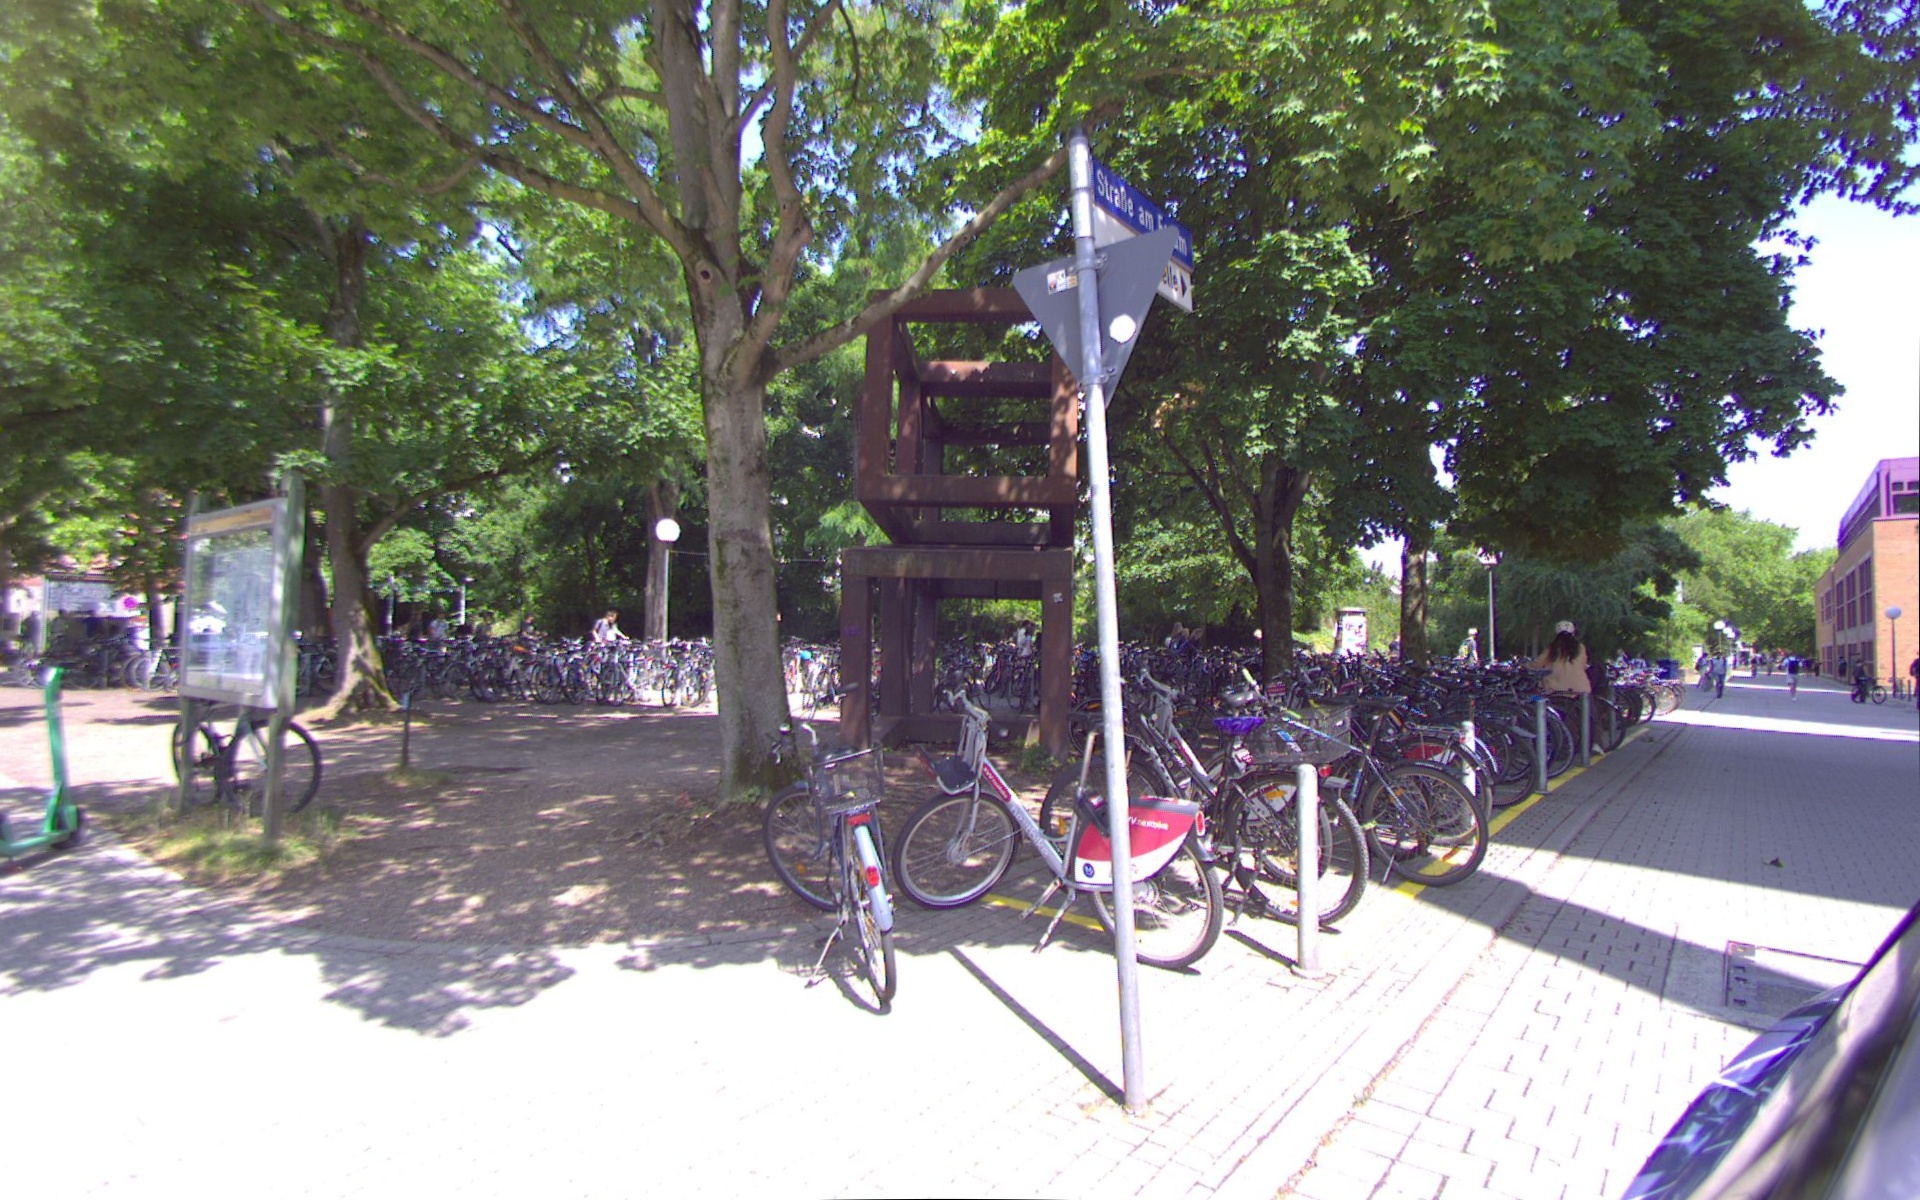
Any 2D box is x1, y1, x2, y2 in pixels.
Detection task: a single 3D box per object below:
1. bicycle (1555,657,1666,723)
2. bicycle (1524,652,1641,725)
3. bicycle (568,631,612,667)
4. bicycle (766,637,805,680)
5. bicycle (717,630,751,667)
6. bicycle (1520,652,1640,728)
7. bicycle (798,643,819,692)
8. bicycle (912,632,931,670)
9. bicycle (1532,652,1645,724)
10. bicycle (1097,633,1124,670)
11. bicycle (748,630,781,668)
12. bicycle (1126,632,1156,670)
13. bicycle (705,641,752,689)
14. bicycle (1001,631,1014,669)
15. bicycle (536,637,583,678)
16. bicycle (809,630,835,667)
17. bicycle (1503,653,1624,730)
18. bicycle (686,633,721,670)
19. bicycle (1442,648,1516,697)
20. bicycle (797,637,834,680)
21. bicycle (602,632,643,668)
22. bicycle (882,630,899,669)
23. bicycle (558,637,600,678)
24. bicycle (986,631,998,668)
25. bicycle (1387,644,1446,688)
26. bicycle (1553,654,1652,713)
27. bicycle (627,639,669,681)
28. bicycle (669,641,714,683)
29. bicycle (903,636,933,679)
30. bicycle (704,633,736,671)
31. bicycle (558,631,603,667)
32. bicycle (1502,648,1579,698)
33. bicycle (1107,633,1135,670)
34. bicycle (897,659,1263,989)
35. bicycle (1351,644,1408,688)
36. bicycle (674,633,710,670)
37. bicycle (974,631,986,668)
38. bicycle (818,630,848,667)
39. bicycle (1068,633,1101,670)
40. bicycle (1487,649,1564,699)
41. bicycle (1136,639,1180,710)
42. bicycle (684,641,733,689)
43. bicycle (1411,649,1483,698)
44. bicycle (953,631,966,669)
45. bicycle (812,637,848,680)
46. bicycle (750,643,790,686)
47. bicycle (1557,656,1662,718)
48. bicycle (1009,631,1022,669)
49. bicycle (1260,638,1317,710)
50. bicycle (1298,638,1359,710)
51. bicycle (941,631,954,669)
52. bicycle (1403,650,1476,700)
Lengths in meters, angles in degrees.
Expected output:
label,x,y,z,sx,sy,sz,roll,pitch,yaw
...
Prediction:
label,x,y,z,sx,sy,sz,roll,pitch,yaw
bicycle,11.878,1.634,18.516,1.677,1.098,0.472,1,-4,35
bicycle,10.671,1.504,17.373,1.677,1.144,0.472,1,-4,35
bicycle,-11.813,1.545,32.377,0.471,1.107,1.746,0,-2,12
bicycle,-4.268,1.416,24.845,0.372,0.991,1.898,0,-1,8
bicycle,-7.011,1.492,31.432,0.471,1.107,1.606,0,-2,9
bicycle,10.336,1.490,16.901,1.677,1.144,0.472,1,-4,35
bicycle,-3.366,1.477,22.398,0.371,0.991,1.907,0,-1,-11
bicycle,-1.161,1.520,30.704,0.469,1.107,1.610,0,-2,1
bicycle,11.061,1.535,17.840,1.677,1.144,0.472,1,-4,35
bicycle,4.624,1.571,31.172,0.341,1.107,1.613,0,-2,-10
bicycle,-6.015,1.491,31.161,0.471,1.107,1.606,0,-2,9
bicycle,5.574,1.563,31.236,0.341,1.107,1.613,0,-2,-10
bicycle,-5.181,1.440,22.739,0.372,0.991,1.898,0,-1,8
bicycle,1.444,1.508,30.971,0.330,1.107,1.610,0,-2,1
bicycle,-10.230,1.460,25.919,0.469,0.991,1.903,0,-1,0
bicycle,-4.244,1.474,31.157,0.342,1.107,1.606,0,-2,9
bicycle,9.882,1.478,16.587,1.677,1.144,0.448,1,-4,35
bicycle,-8.009,1.585,31.648,0.471,1.107,1.606,0,-2,9
bicycle,12.414,1.728,24.248,0.468,1.098,1.691,4,-4,-19
bicycle,-3.537,1.408,24.911,0.372,0.991,1.898,0,-1,8
bicycle,-10.773,1.597,32.366,0.343,1.107,1.600,-1,-2,19
bicycle,-2.080,1.468,30.401,0.342,1.107,1.609,0,-2,3
bicycle,-9.785,1.464,26.027,0.371,0.991,1.903,0,-1,0
bicycle,0.980,1.509,31.133,0.341,1.107,1.610,0,-2,1
bicycle,11.866,1.709,26.337,0.469,1.098,1.690,4,-4,-12
bicycle,13.014,1.683,20.539,1.677,1.098,0.472,1,-4,35
bicycle,-7.902,1.513,25.680,0.469,0.991,1.903,0,-1,0
bicycle,-6.702,1.528,25.345,0.372,0.991,1.898,0,-1,8
bicycle,-1.014,1.395,24.771,0.372,0.991,1.898,0,-1,8
bicycle,-7.398,1.585,31.242,0.342,1.107,1.606,0,-2,9
bicycle,-12.149,1.547,32.453,0.471,1.107,1.746,0,-2,12
bicycle,13.786,1.720,24.081,0.468,1.098,1.691,4,-4,-19
bicycle,4.959,1.567,31.231,0.341,1.107,1.613,0,-2,-10
bicycle,0.473,0.853,4.364,1.480,1.156,0.554,-2,-2,37
bicycle,10.964,1.714,26.505,0.469,1.098,1.690,4,-4,-12
bicycle,-8.384,1.587,31.661,0.471,1.107,1.606,0,-2,9
bicycle,0.614,1.503,31.179,0.341,1.107,1.610,0,-2,1
bicycle,-3.897,1.474,31.094,0.471,1.107,1.606,0,-2,9
bicycle,3.831,1.576,31.215,0.341,1.107,1.614,1,-2,-18
bicycle,13.347,1.725,23.919,0.468,1.098,1.691,4,-4,-19
bicycle,3.522,1.301,18.126,0.406,1.185,1.844,1,-2,0
bicycle,-5.607,1.439,22.658,0.372,0.991,1.898,0,-1,8
bicycle,11.592,1.736,24.124,0.468,1.098,1.691,4,-4,-19
bicycle,-0.010,1.512,30.783,0.341,1.107,1.610,0,-2,1
bicycle,-3.157,1.409,24.730,0.372,0.991,1.898,0,-1,8
bicycle,-4.673,1.564,24.952,0.372,0.991,1.898,0,-1,8
bicycle,12.655,1.678,19.755,1.671,1.098,0.474,1,-4,26
bicycle,1.683,1.507,30.978,0.341,1.107,1.610,0,-2,1
bicycle,5.799,1.280,17.946,0.406,1.185,1.844,1,-2,0
bicycle,6.505,1.273,17.948,0.406,1.185,1.844,1,-2,0
bicycle,-0.388,1.513,30.817,0.341,1.107,1.610,0,-2,1
bicycle,11.226,1.743,23.730,0.468,1.098,1.691,4,-4,-19
